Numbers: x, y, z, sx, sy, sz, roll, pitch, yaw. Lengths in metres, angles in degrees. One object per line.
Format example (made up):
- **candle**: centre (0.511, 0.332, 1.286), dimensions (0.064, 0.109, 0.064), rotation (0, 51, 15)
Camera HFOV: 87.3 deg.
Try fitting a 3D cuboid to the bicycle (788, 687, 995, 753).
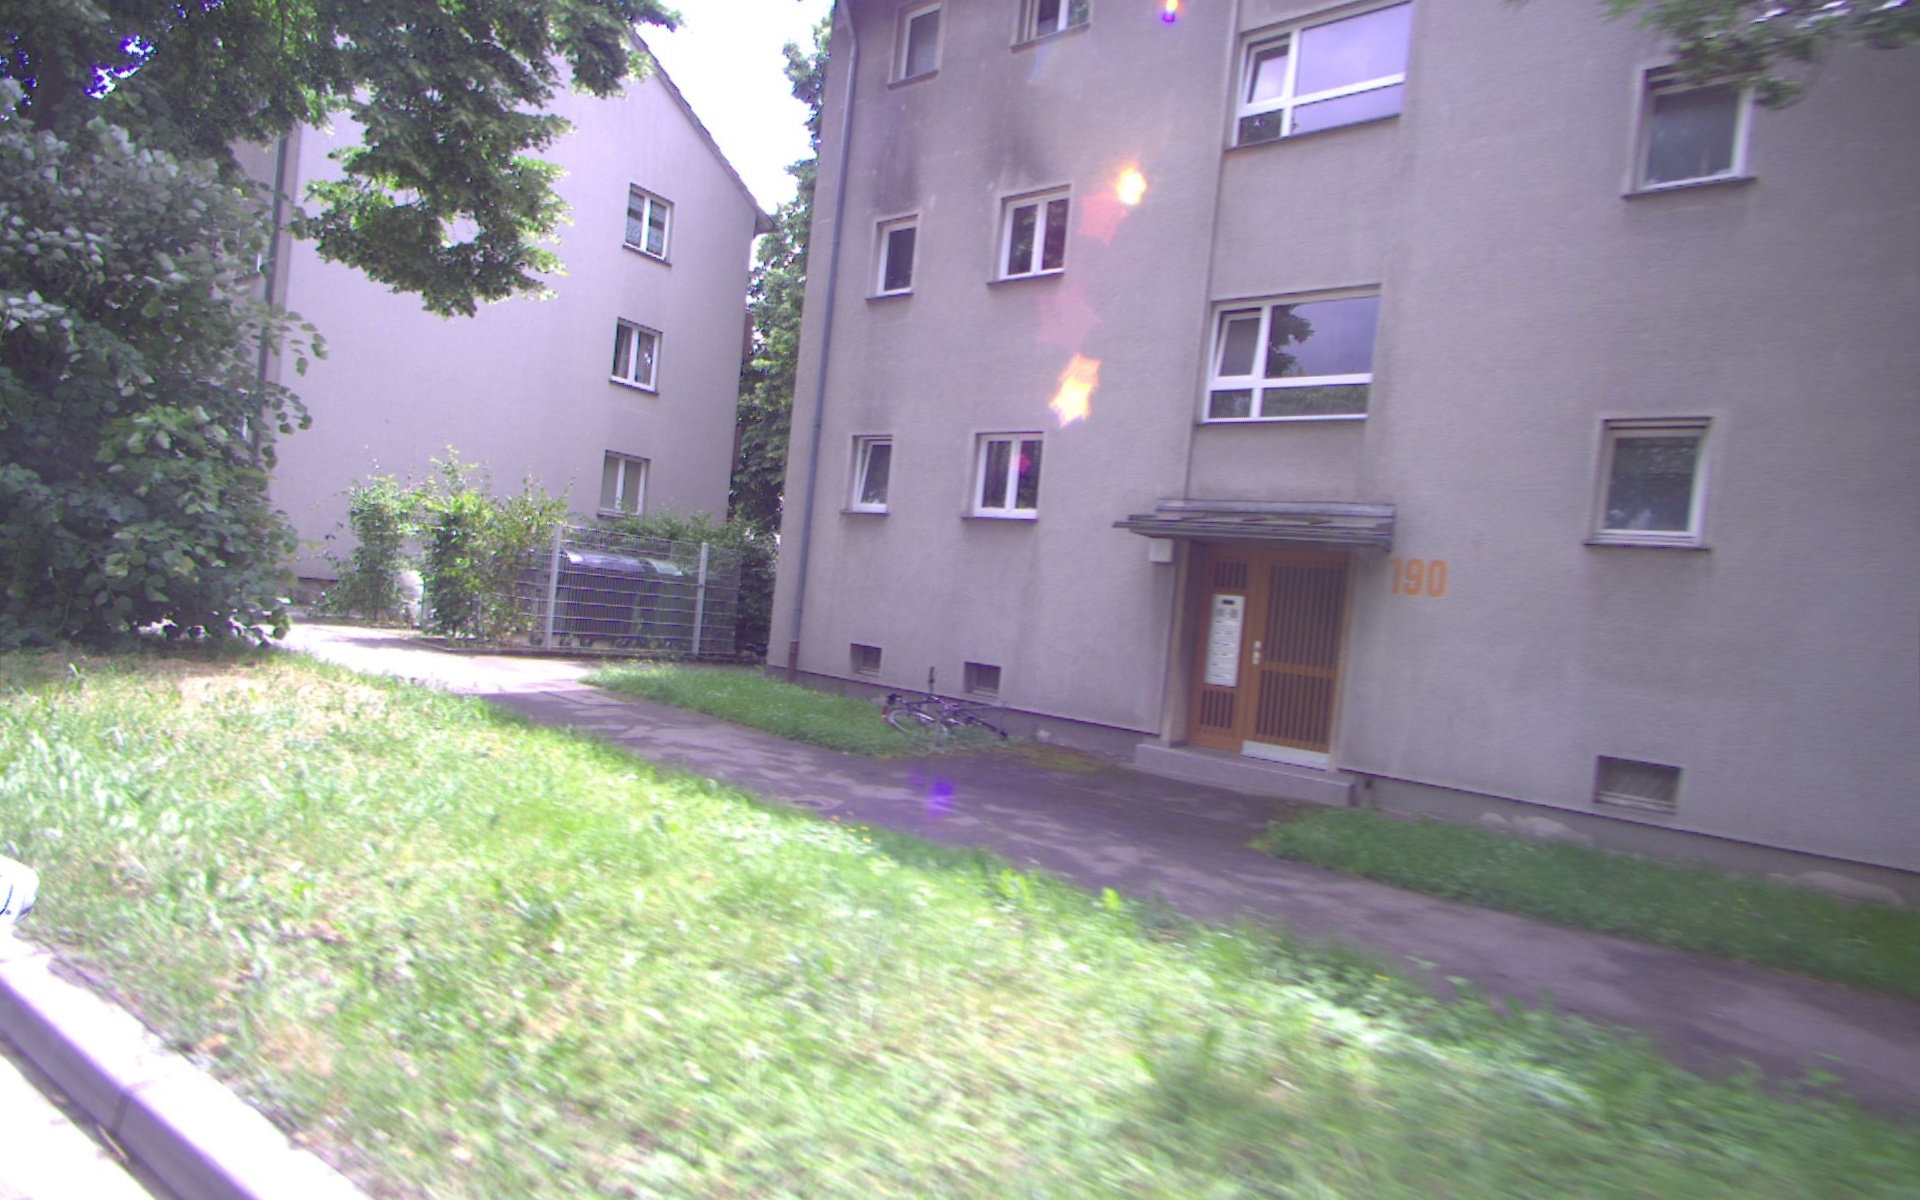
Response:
- **bicycle**: centre (-0.626, 1.214, 10.054), dimensions (0.664, 0.513, 2.202), rotation (5, -2, 42)
